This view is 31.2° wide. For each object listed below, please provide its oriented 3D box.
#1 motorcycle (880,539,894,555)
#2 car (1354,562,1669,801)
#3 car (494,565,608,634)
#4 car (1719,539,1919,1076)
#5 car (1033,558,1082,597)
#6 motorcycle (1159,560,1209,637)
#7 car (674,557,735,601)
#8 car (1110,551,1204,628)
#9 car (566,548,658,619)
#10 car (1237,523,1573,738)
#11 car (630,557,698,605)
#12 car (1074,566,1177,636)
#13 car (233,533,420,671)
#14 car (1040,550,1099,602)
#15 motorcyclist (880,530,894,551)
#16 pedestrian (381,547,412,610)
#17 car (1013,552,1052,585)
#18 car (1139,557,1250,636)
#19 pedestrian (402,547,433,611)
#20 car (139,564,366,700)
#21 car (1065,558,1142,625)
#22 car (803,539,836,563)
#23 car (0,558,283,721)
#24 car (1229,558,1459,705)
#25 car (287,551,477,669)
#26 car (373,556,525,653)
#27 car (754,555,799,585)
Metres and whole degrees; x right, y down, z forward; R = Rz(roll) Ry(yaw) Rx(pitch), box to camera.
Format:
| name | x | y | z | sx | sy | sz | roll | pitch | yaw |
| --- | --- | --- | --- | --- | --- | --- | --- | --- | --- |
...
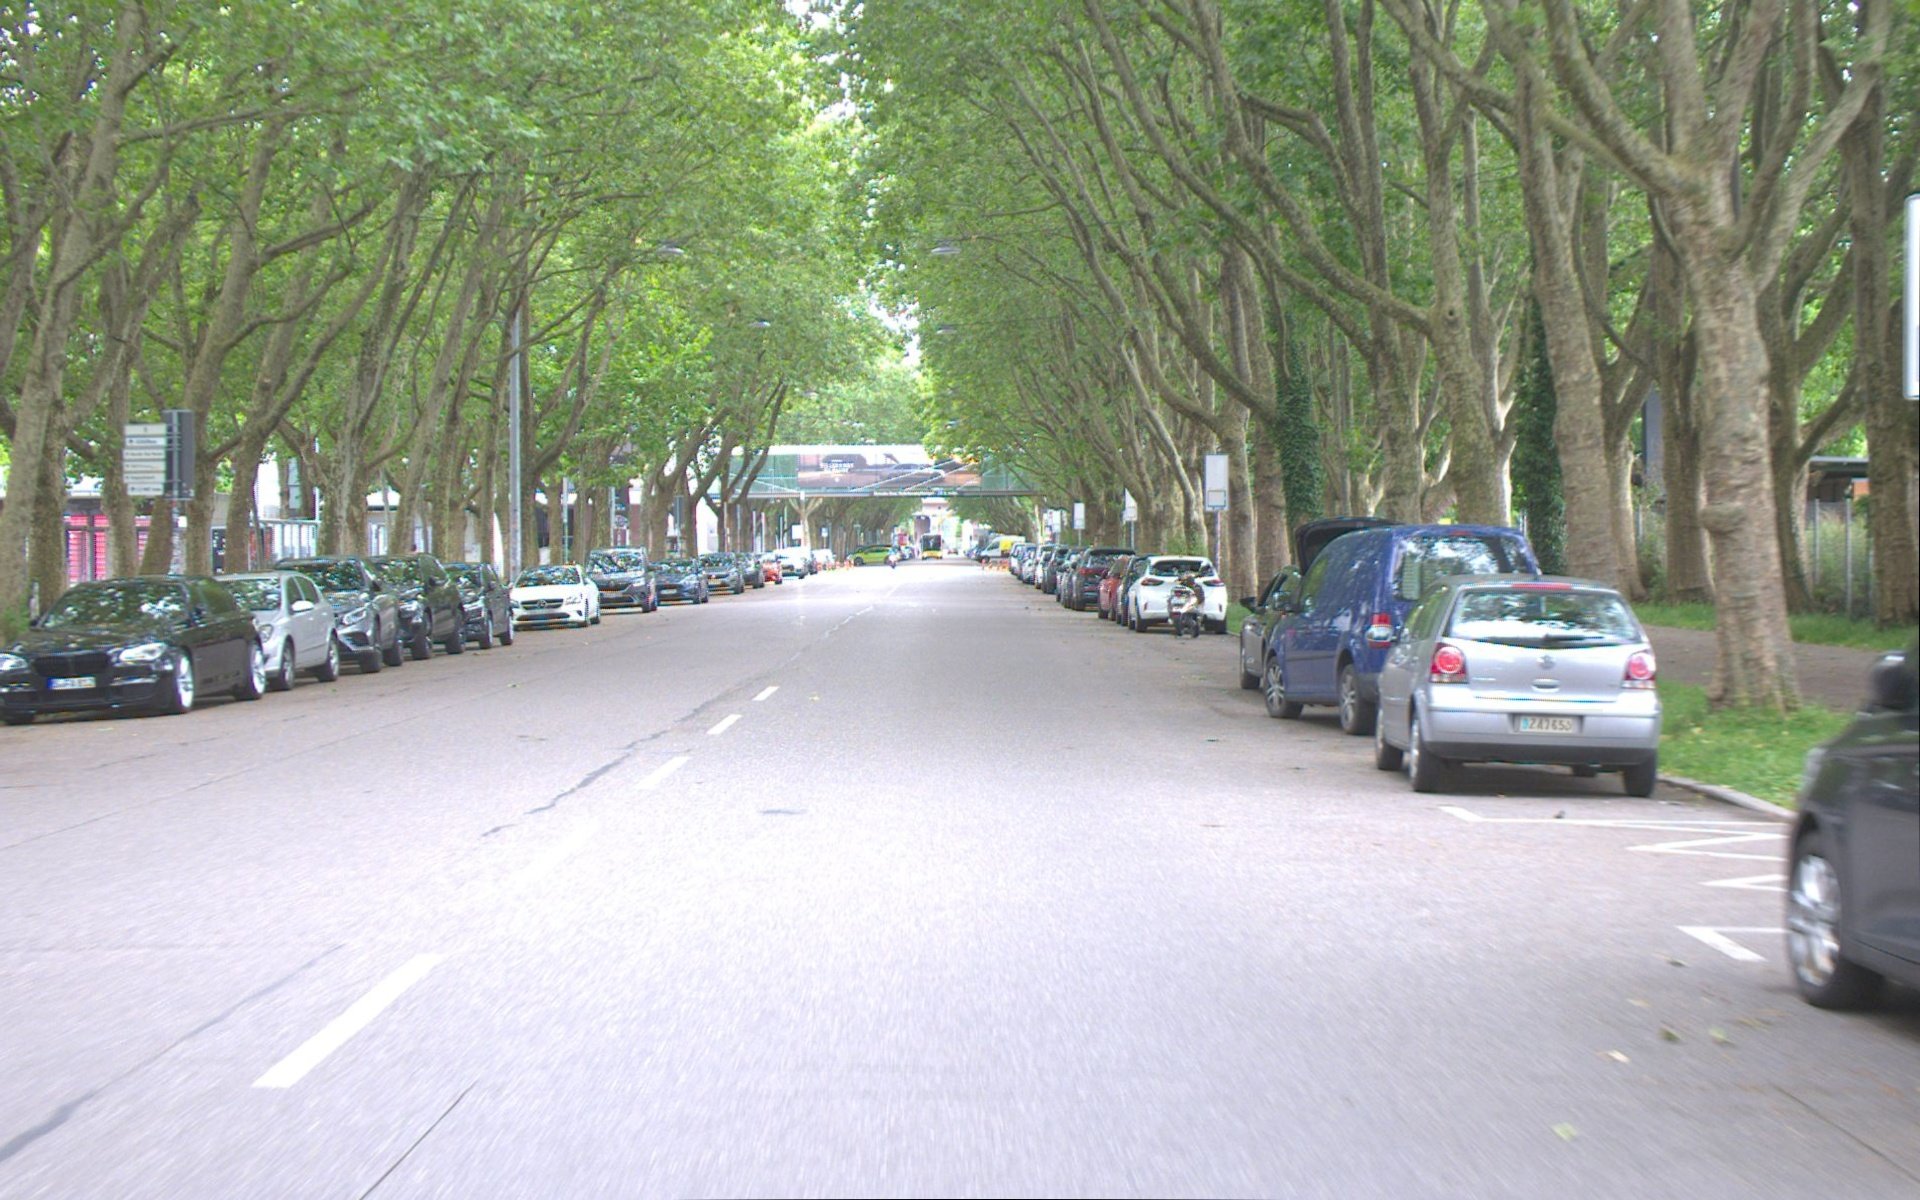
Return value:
| name | x | y | z | sx | sy | sz | roll | pitch | yaw |
| --- | --- | --- | --- | --- | --- | --- | --- | --- | --- |
| motorcycle | -5.004 | -3.643 | 235.095 | 0.873 | 1.075 | 3.053 | 0 | 1 | -3 |
| car | 3.782 | 0.504 | 24.165 | 1.619 | 1.456 | 3.946 | 2 | 1 | 1 |
| car | -9.099 | -0.038 | 76.877 | 1.904 | 1.398 | 4.751 | -3 | 1 | 0 |
| car | 3.791 | 0.644 | 10.503 | 1.829 | 1.597 | 4.467 | 2 | 1 | -1 |
| car | 3.680 | -0.854 | 129.899 | 1.707 | 1.422 | 3.889 | 1 | 1 | 0 |
| motorcycle | 3.924 | -0.037 | 60.157 | 0.712 | 1.327 | 1.992 | 0 | 1 | 8 |
| car | -9.342 | -0.779 | 126.123 | 1.878 | 1.521 | 4.151 | -1 | 1 | 0 |
| car | 4.051 | -0.233 | 71.261 | 1.730 | 1.465 | 4.080 | 2 | 1 | 1 |
| car | -9.119 | -0.451 | 90.356 | 1.949 | 1.744 | 4.638 | -2 | 1 | 0 |
| car | 3.978 | 0.217 | 31.505 | 1.841 | 1.777 | 4.448 | 2 | 1 | -9 |
| car | -9.316 | -0.606 | 108.335 | 1.724 | 1.481 | 4.574 | 0 | 1 | 0 |
| car | 3.635 | -0.004 | 76.251 | 1.716 | 1.433 | 4.630 | 2 | 1 | -4 |
| car | -8.713 | -0.003 | 47.606 | 1.869 | 1.712 | 4.649 | -3 | 1 | -3 |
| car | 3.696 | -0.826 | 117.002 | 1.707 | 1.692 | 4.631 | 1 | 1 | -1 |
| motorcyclist | -5.000 | -4.059 | 235.166 | 0.870 | 1.475 | 1.265 | 0 | 1 | -3 |
| pedestrian | -15.568 | -0.584 | 95.012 | 0.575 | 1.736 | 0.767 | 0 | 0 | 15 |
| car | 3.510 | -1.523 | 166.967 | 1.802 | 1.550 | 4.000 | 0 | 1 | 0 |
| car | 4.438 | -0.090 | 65.522 | 1.735 | 1.433 | 4.123 | 0 | 1 | -1 |
| pedestrian | -14.968 | -0.575 | 94.831 | 0.577 | 1.764 | 0.767 | 0 | 0 | 15 |
| car | -8.608 | 0.350 | 42.169 | 1.833 | 1.451 | 4.230 | -3 | 1 | 0 |
| car | 3.643 | -0.237 | 87.670 | 1.755 | 1.614 | 4.439 | 2 | 1 | 0 |
| car | -9.552 | -3.350 | 233.344 | 1.993 | 1.596 | 4.001 | 0 | 1 | -5 |
| car | -8.854 | 0.369 | 36.689 | 2.084 | 1.524 | 5.145 | -2 | 1 | 1 |
| car | 4.148 | 0.300 | 37.764 | 1.993 | 1.473 | 4.371 | 1 | 1 | 0 |
| car | -8.957 | 0.116 | 53.650 | 1.937 | 1.637 | 4.928 | -3 | 1 | 1 |
| car | -8.752 | 0.040 | 59.204 | 1.833 | 1.489 | 4.442 | -3 | 1 | 0 |
| car | -9.581 | -1.580 | 179.903 | 2.073 | 1.557 | 4.756 | 0 | 1 | 0 |
